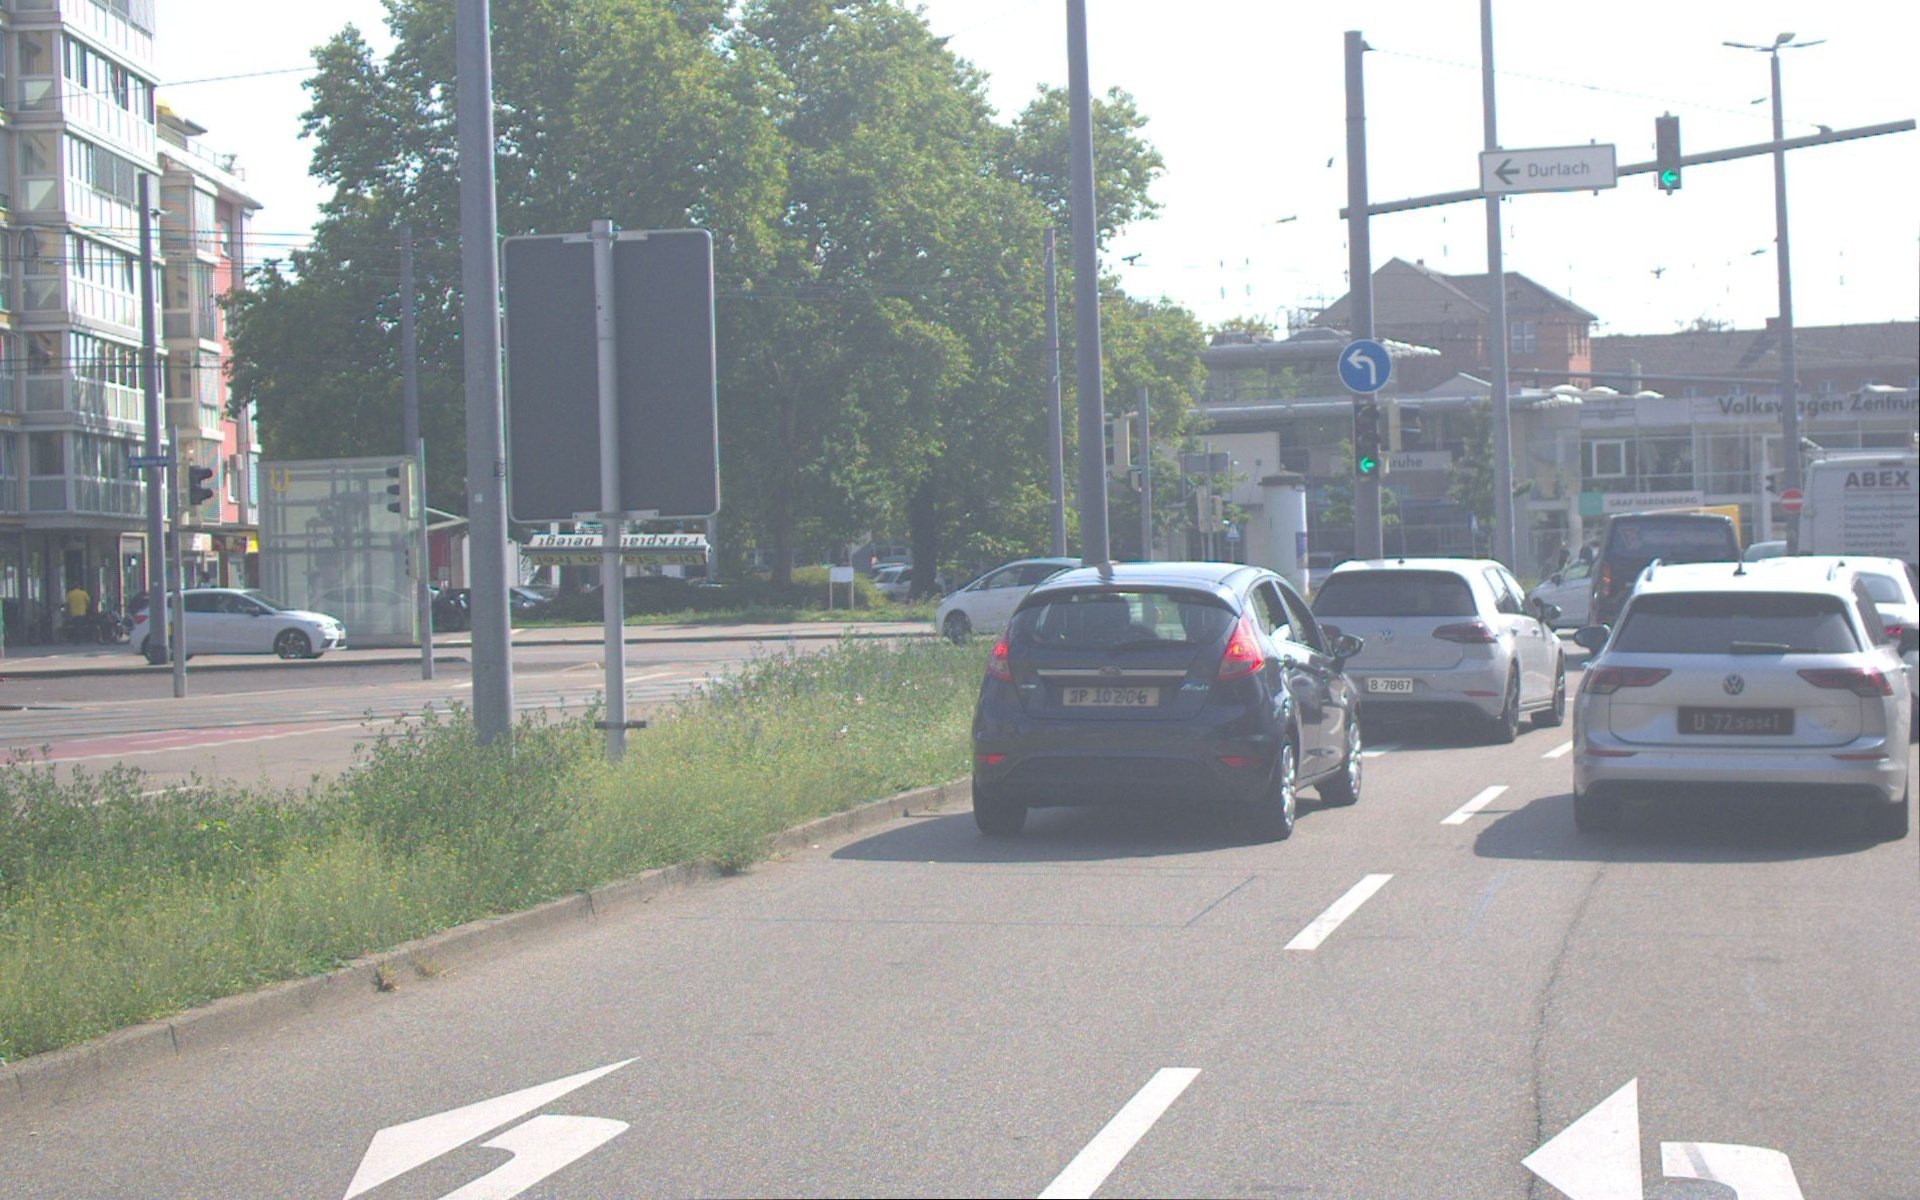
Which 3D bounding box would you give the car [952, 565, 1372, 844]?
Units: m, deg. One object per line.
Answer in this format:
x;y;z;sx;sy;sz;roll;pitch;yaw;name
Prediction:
1.241;0.515;19.294;1.702;1.363;3.961;-1;1;13;car

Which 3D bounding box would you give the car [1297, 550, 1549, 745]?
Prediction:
3.782;0.339;27.660;1.490;1.410;3.645;-1;1;16;car

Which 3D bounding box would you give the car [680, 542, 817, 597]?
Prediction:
-6.354;-0.920;103.638;3.987;1.552;1.728;-1;1;0;car

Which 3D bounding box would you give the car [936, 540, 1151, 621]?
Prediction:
1.573;-0.358;66.101;4.086;1.497;1.624;-1;0;44;car

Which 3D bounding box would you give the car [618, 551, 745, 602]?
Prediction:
-9.101;-0.779;112.562;3.987;1.552;1.728;-1;1;0;car

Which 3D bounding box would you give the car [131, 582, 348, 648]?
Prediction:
-13.887;0.289;66.368;3.829;1.176;1.576;-1;0;0;car

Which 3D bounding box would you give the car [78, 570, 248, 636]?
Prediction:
-21.069;0.080;90.953;3.987;1.552;1.869;-1;3;1;car

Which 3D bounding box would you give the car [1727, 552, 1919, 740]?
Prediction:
6.992;0.336;27.731;1.490;1.398;3.940;-1;0;14;car

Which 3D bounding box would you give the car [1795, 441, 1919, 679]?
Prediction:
10.705;-0.447;39.017;2.190;2.540;4.680;-1;0;16;car

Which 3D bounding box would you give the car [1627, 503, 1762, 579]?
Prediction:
20.274;-1.636;94.814;1.997;2.007;4.655;-1;1;34;car

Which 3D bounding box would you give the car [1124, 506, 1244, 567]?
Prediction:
7.931;-2.244;121.645;3.989;2.006;1.999;-1;3;11;car

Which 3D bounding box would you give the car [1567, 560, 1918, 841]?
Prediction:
4.309;0.491;18.876;1.686;1.383;3.632;-1;0;14;car

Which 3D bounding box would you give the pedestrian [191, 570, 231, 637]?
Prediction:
-18.522;0.085;85.012;0.850;1.615;0.542;-2;0;-3;pedestrian

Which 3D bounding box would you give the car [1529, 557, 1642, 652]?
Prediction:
10.782;0.051;59.438;1.564;1.369;3.997;-1;3;5;car

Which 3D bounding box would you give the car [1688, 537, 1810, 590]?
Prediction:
20.971;-0.976;91.243;1.898;1.320;4.125;-1;1;32;car

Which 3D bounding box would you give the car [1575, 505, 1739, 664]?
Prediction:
9.405;-0.231;46.232;2.024;2.001;4.681;-1;1;12;car

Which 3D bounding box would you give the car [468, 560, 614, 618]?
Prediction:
-12.049;-0.334;98.995;3.987;1.552;1.728;-1;1;0;car
